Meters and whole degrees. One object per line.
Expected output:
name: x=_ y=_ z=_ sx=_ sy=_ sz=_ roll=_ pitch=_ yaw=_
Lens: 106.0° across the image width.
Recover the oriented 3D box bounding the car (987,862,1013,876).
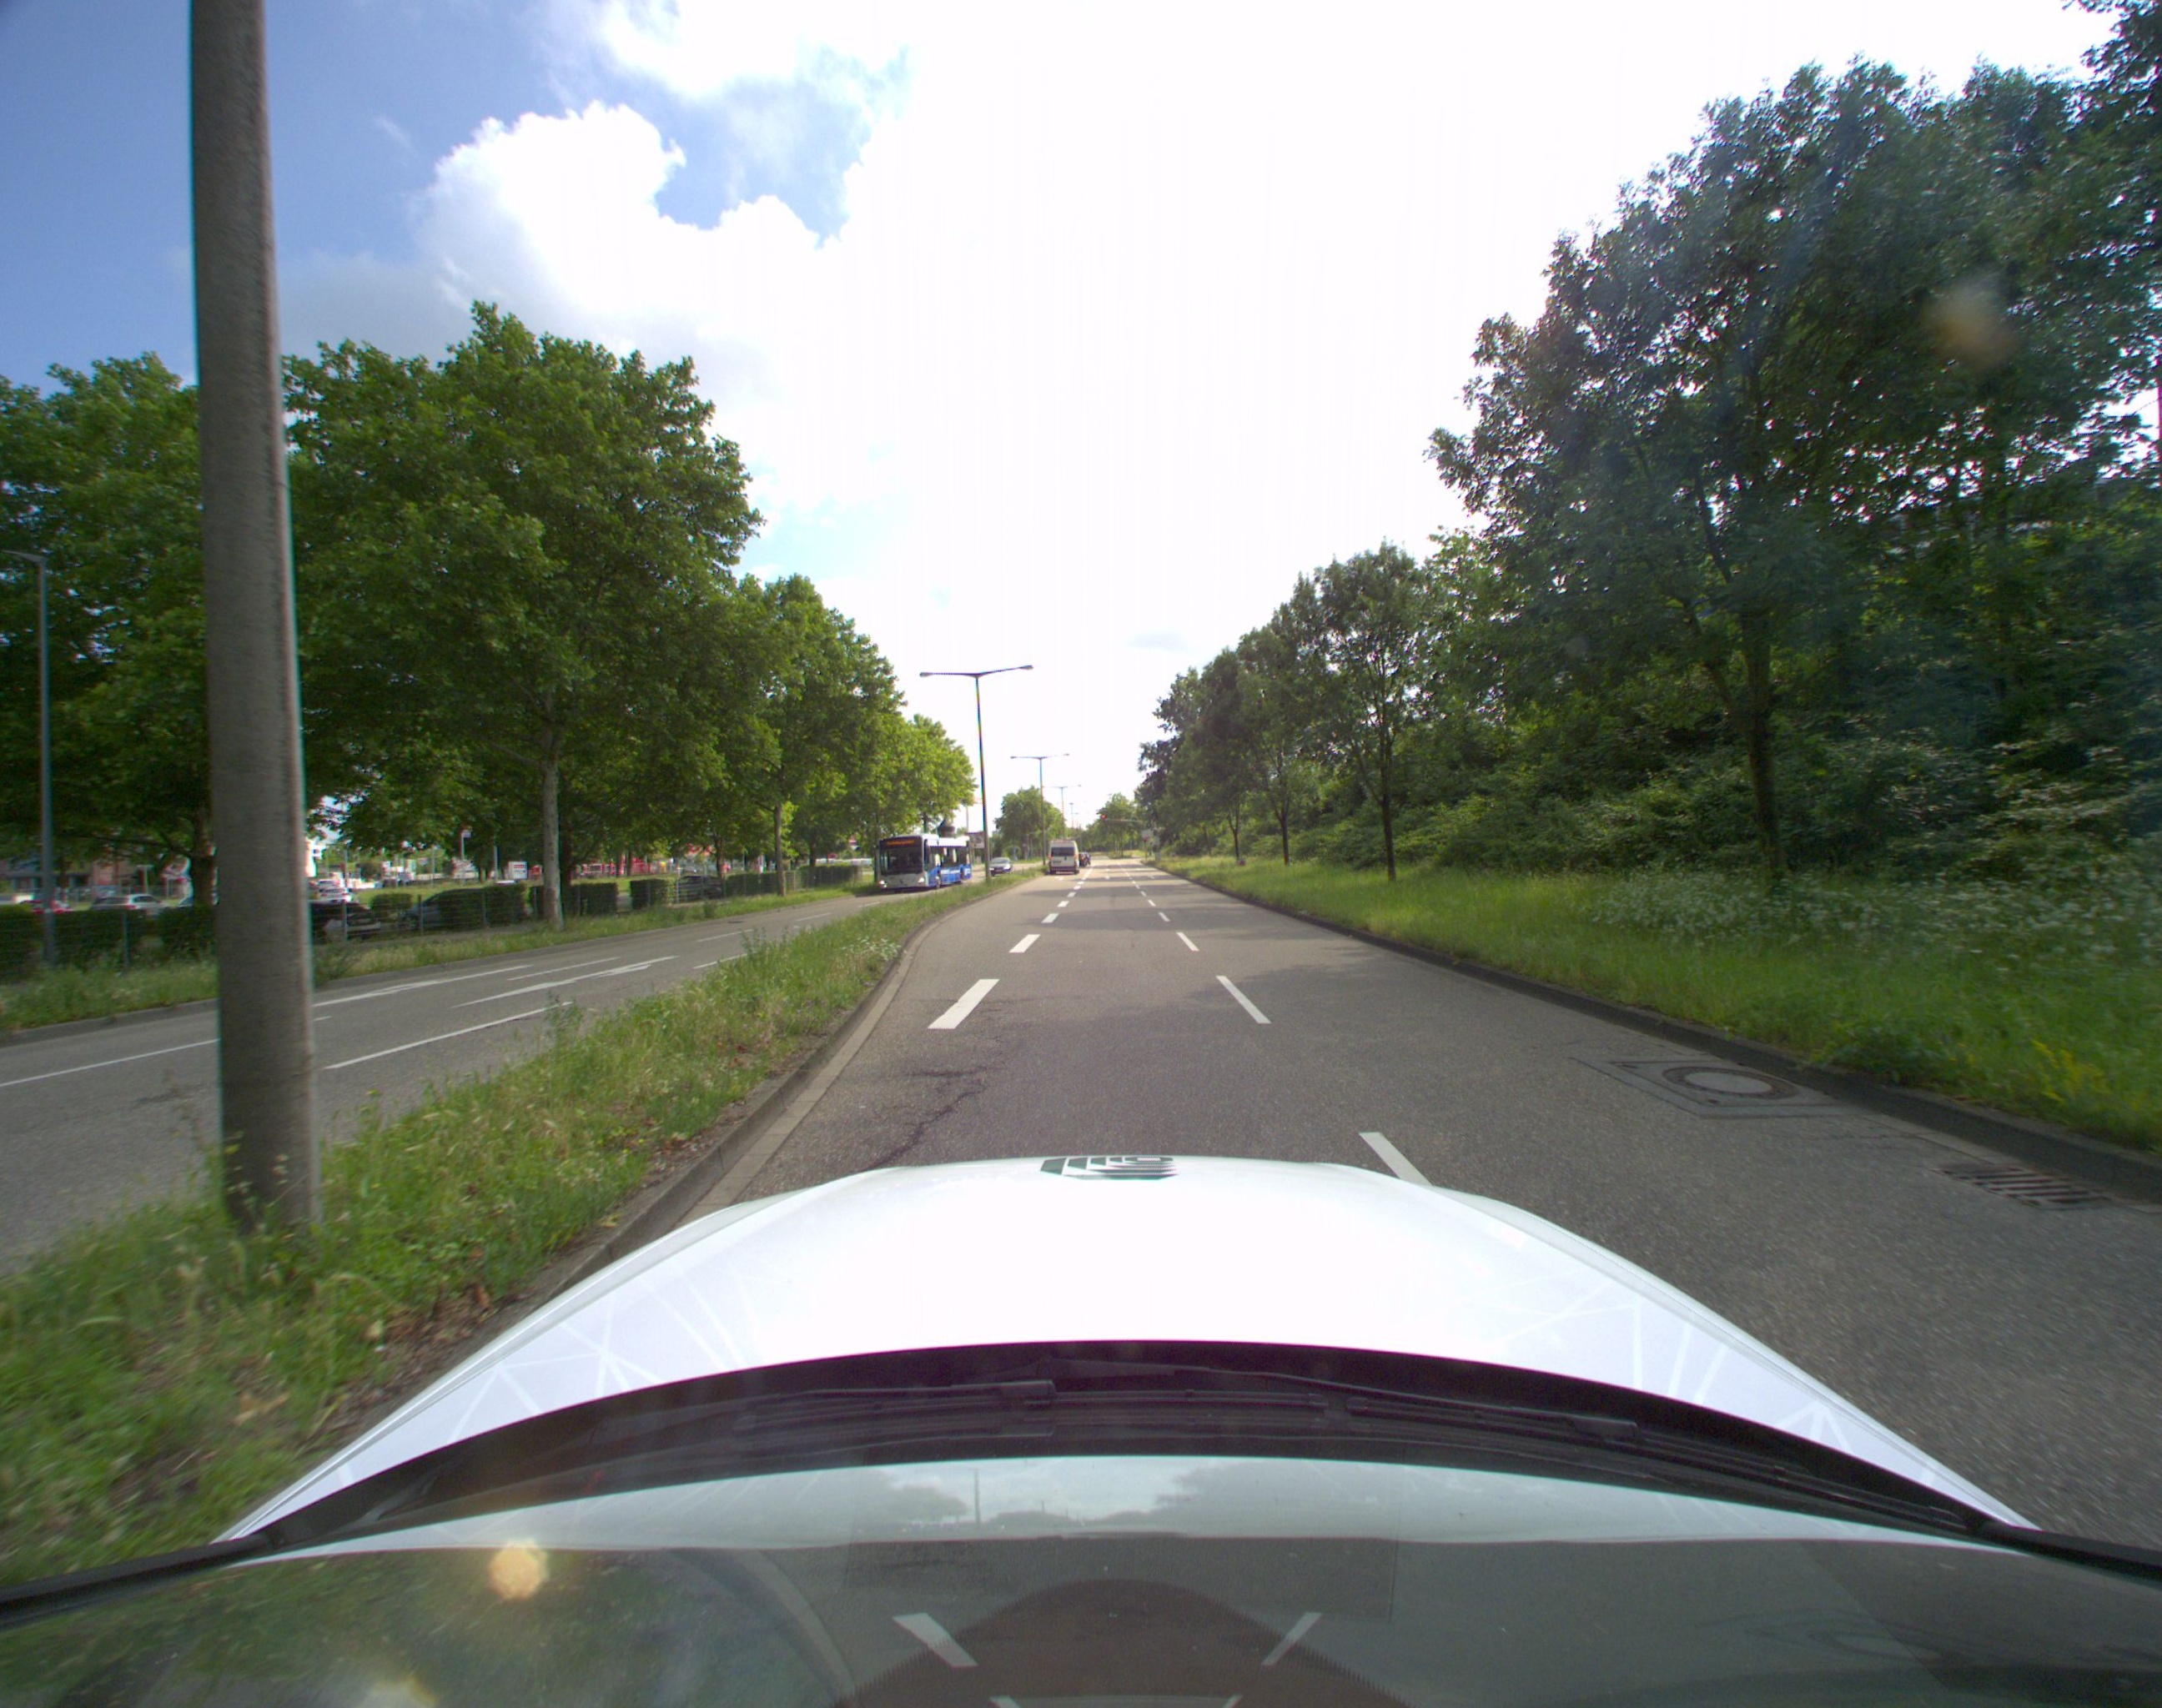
car: x=-6.443 y=1.181 z=65.094 sx=1.553 sy=1.041 sz=3.415 roll=-3 pitch=0 yaw=2

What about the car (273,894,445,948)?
car: x=-23.207 y=2.117 z=26.430 sx=1.885 sy=1.596 sz=4.000 roll=-1 pitch=-3 yaw=2

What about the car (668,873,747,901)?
car: x=-22.916 y=2.025 z=50.031 sx=3.970 sy=1.596 sz=1.899 roll=-1 pitch=-3 yaw=3

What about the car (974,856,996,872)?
car: x=-10.730 y=1.170 z=91.128 sx=1.877 sy=1.583 sz=3.881 roll=-1 pitch=-3 yaw=2

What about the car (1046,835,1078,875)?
car: x=-1.364 y=0.021 z=60.762 sx=2.190 sy=2.725 sz=4.932 roll=-2 pitch=2 yaw=0

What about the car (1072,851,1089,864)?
car: x=-0.066 y=0.387 z=98.501 sx=1.802 sy=1.470 sz=3.852 roll=-3 pitch=0 yaw=-3

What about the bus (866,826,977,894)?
bus: x=-8.909 y=0.320 z=47.525 sx=3.096 sy=3.274 sz=12.350 roll=-4 pitch=0 yaw=4

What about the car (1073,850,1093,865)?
car: x=0.149 y=0.351 z=85.459 sx=1.802 sy=1.470 sz=3.852 roll=-3 pitch=0 yaw=-3
